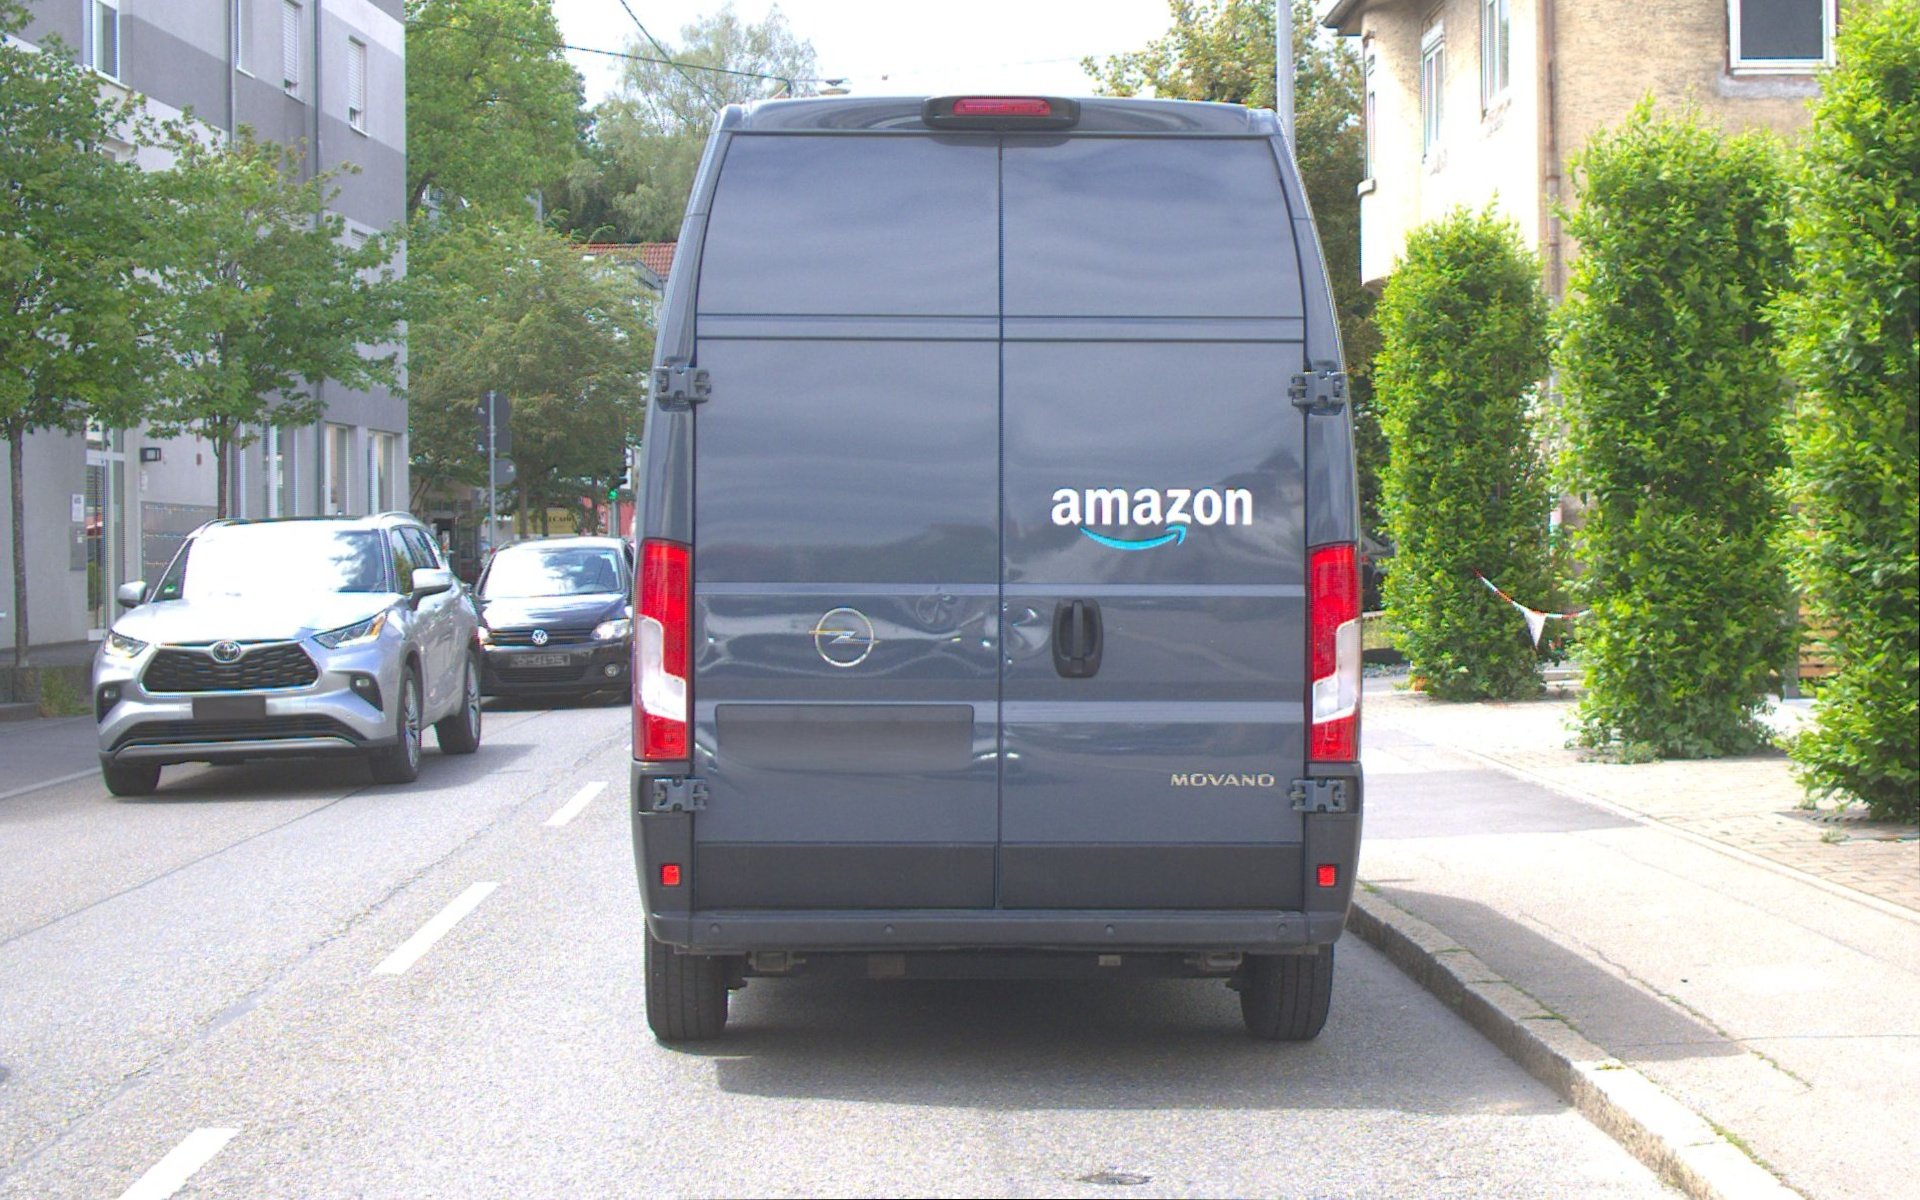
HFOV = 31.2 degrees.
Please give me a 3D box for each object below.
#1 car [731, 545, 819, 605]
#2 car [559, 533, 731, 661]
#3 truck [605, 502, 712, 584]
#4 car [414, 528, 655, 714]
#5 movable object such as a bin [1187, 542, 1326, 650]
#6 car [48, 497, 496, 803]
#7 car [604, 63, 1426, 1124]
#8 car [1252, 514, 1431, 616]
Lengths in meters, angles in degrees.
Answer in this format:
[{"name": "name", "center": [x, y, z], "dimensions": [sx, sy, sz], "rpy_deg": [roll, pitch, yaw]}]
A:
[{"name": "car", "center": [-4.524, -0.641, 84.408], "dimensions": [1.874, 1.419, 4.115], "rpy_deg": [0, 1, 1]}, {"name": "car", "center": [-4.213, -0.081, 46.625], "dimensions": [1.897, 1.554, 4.801], "rpy_deg": [-3, 1, -1]}, {"name": "truck", "center": [-9.001, -1.698, 103.245], "dimensions": [2.225, 2.372, 6.325], "rpy_deg": [0, 1, 4]}, {"name": "car", "center": [-3.946, 0.149, 32.467], "dimensions": [1.832, 1.579, 4.038], "rpy_deg": [-2, 1, -2]}, {"name": "movable object such as a bin", "center": [3.538, -0.064, 41.083], "dimensions": [1.182, 1.261, 1.210], "rpy_deg": [-1, 1, -30]}, {"name": "car", "center": [-4.440, 0.263, 22.970], "dimensions": [1.986, 1.731, 4.796], "rpy_deg": [-3, 1, 0]}, {"name": "car", "center": [0.018, -0.073, 12.110], "dimensions": [2.147, 2.761, 6.250], "rpy_deg": [0, 1, -2]}, {"name": "car", "center": [6.613, -0.620, 59.264], "dimensions": [1.754, 1.512, 4.074], "rpy_deg": [-3, 1, 25]}]
